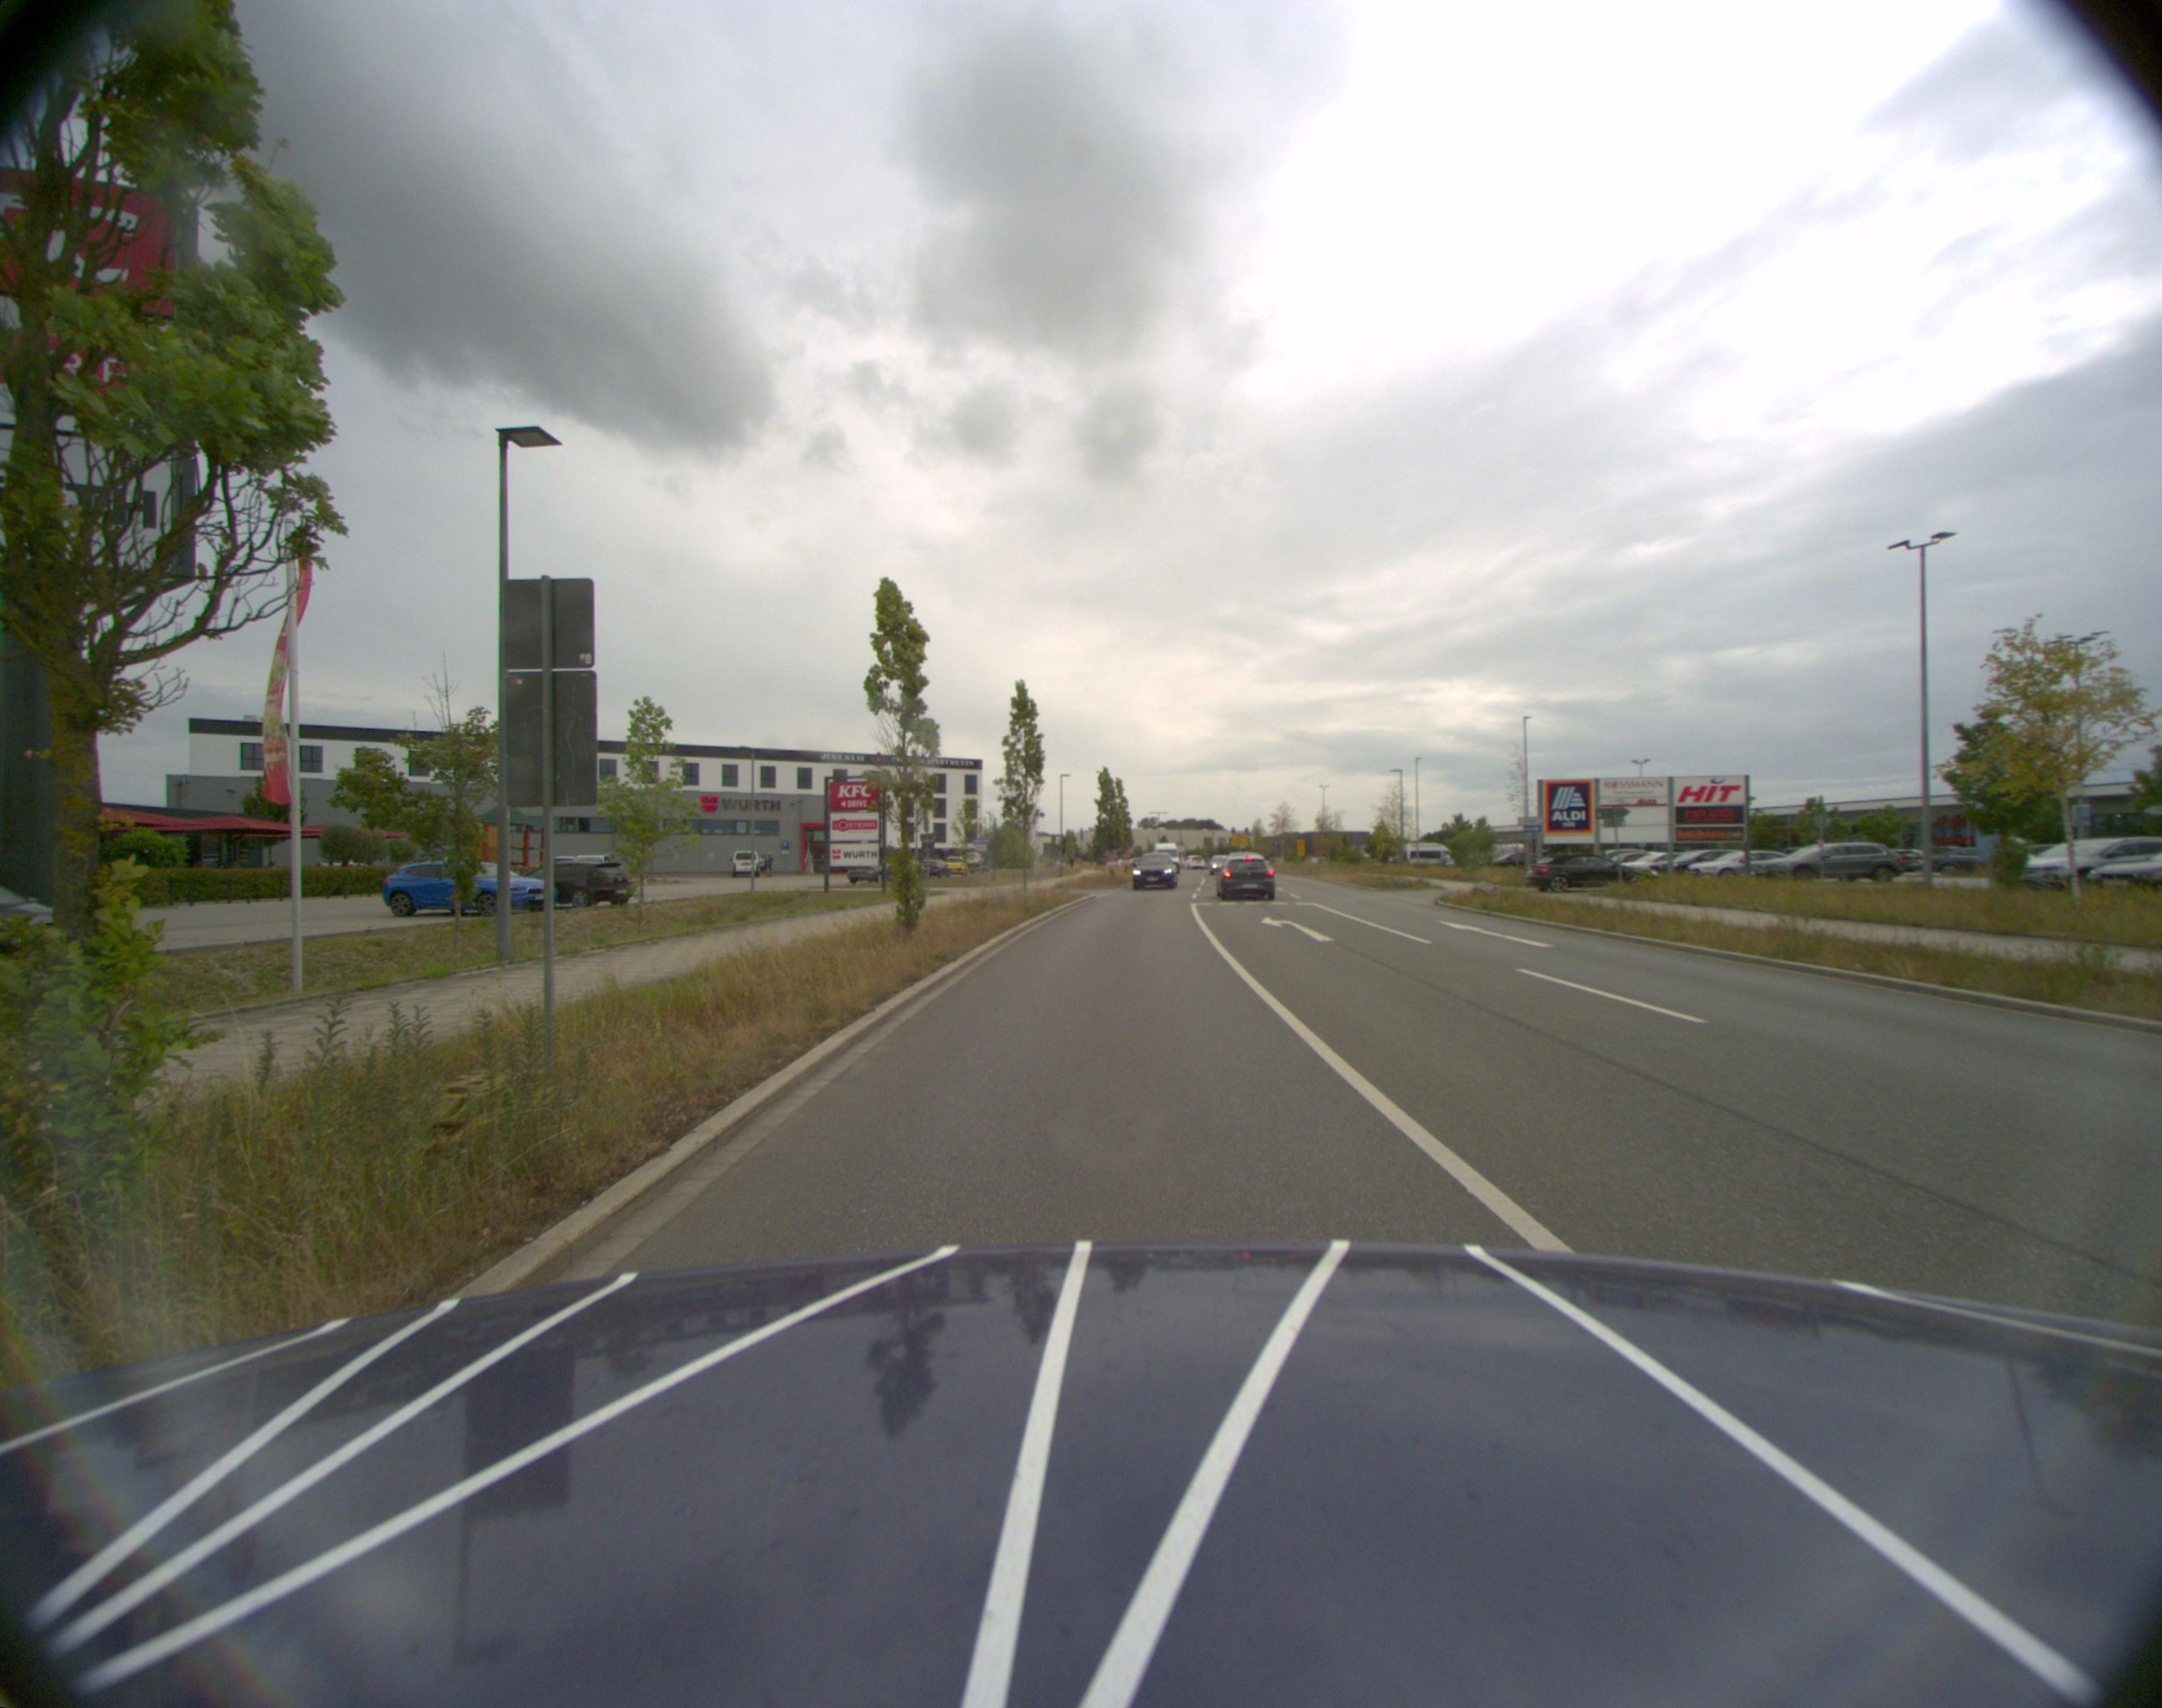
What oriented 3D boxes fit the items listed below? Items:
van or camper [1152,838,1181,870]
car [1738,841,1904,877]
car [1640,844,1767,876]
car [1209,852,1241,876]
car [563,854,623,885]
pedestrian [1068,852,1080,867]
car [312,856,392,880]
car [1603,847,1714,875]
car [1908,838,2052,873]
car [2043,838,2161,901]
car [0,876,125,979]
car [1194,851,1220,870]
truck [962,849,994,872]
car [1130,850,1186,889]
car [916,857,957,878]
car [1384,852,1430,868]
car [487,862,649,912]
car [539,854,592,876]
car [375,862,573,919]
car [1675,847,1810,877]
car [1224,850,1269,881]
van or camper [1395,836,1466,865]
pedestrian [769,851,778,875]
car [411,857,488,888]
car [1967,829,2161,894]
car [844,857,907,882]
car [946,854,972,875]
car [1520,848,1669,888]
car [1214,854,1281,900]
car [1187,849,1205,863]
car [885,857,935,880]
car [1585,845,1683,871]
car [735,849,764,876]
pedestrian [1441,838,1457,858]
[{"bbox_3d":[7.281,0.045,65.212,2.263,2.601,5.699,0,0,4],"label":"van or camper"},{"bbox_3d":[29.975,0.213,30.934,4.365,1.383,2.167,-1,0,10],"label":"car"},{"bbox_3d":[30.861,0.301,37.824,4.373,1.496,2.241,-1,0,9],"label":"car"},{"bbox_3d":[9.235,0.595,48.950,1.883,1.460,4.195,0,0,9],"label":"car"},{"bbox_3d":[-28.882,0.901,45.128,2.002,1.687,4.784,-1,0,-21],"label":"car"},{"bbox_3d":[-0.855,0.721,95.863,1.072,1.847,1.197,1,2,31],"label":"pedestrian"},{"bbox_3d":[-47.786,0.875,49.933,2.083,1.510,4.568,0,0,-20],"label":"car"},{"bbox_3d":[31.180,0.365,41.147,4.327,1.448,2.012,-1,0,7],"label":"car"},{"bbox_3d":[42.985,0.092,36.470,2.001,1.597,3.996,0,0,-12],"label":"car"},{"bbox_3d":[27.500,0.336,18.854,4.250,1.504,2.047,-1,0,9],"label":"car"},{"bbox_3d":[-17.921,1.131,11.891,3.766,1.485,1.890,-1,0,5],"label":"car"},{"bbox_3d":[9.657,0.498,58.383,1.706,1.429,4.034,0,0,6],"label":"car"},{"bbox_3d":[-10.943,0.665,81.252,2.232,2.312,8.215,0,0,0],"label":"truck"},{"bbox_3d":[3.656,0.694,35.535,1.996,1.654,4.004,-2,0,14],"label":"car"},{"bbox_3d":[-10.948,0.991,58.032,1.998,1.488,4.608,0,1,3],"label":"car"},{"bbox_3d":[33.667,0.592,78.522,3.953,1.624,2.085,0,0,1],"label":"car"},{"bbox_3d":[-16.238,1.024,24.140,3.994,1.485,1.983,-1,0,10],"label":"car"},{"bbox_3d":[-37.037,0.774,54.682,2.083,1.510,4.568,1,0,-20],"label":"car"},{"bbox_3d":[-17.223,1.021,21.663,4.270,1.511,1.967,-1,0,7],"label":"car"},{"bbox_3d":[30.303,0.364,34.923,4.322,1.332,2.028,-1,0,5],"label":"car"},{"bbox_3d":[8.615,0.586,39.868,1.997,1.552,4.616,-1,0,9],"label":"car"},{"bbox_3d":[33.930,-0.324,73.785,5.867,2.784,2.243,0,1,-1],"label":"van or camper"},{"bbox_3d":[-24.058,0.715,59.426,0.615,1.857,0.800,-1,0,-27],"label":"pedestrian"},{"bbox_3d":[-35.449,1.001,42.808,1.987,1.619,4.320,-1,0,-20],"label":"car"},{"bbox_3d":[28.389,0.196,21.434,4.251,1.713,2.029,-1,0,4],"label":"car"},{"bbox_3d":[-12.398,0.919,46.164,1.965,1.451,4.835,0,0,7],"label":"car"},{"bbox_3d":[-10.298,0.892,64.457,1.767,1.676,4.410,0,0,-4],"label":"car"},{"bbox_3d":[18.885,0.505,28.130,4.224,1.429,1.776,0,1,11],"label":"car"},{"bbox_3d":[5.581,0.724,25.979,1.833,1.412,4.248,-1,0,7],"label":"car"},{"bbox_3d":[13.741,0.265,90.715,1.997,1.627,4.706,1,0,8],"label":"car"},{"bbox_3d":[-11.578,0.960,51.762,1.867,1.428,4.882,0,0,5],"label":"car"},{"bbox_3d":[31.625,0.234,43.591,4.091,1.383,2.002,0,0,10],"label":"car"},{"bbox_3d":[-25.568,0.667,58.649,2.002,1.975,4.627,-1,0,-24],"label":"car"},{"bbox_3d":[34.753,-0.576,71.813,1.010,1.879,1.114,0,0,0],"label":"pedestrian"}]
